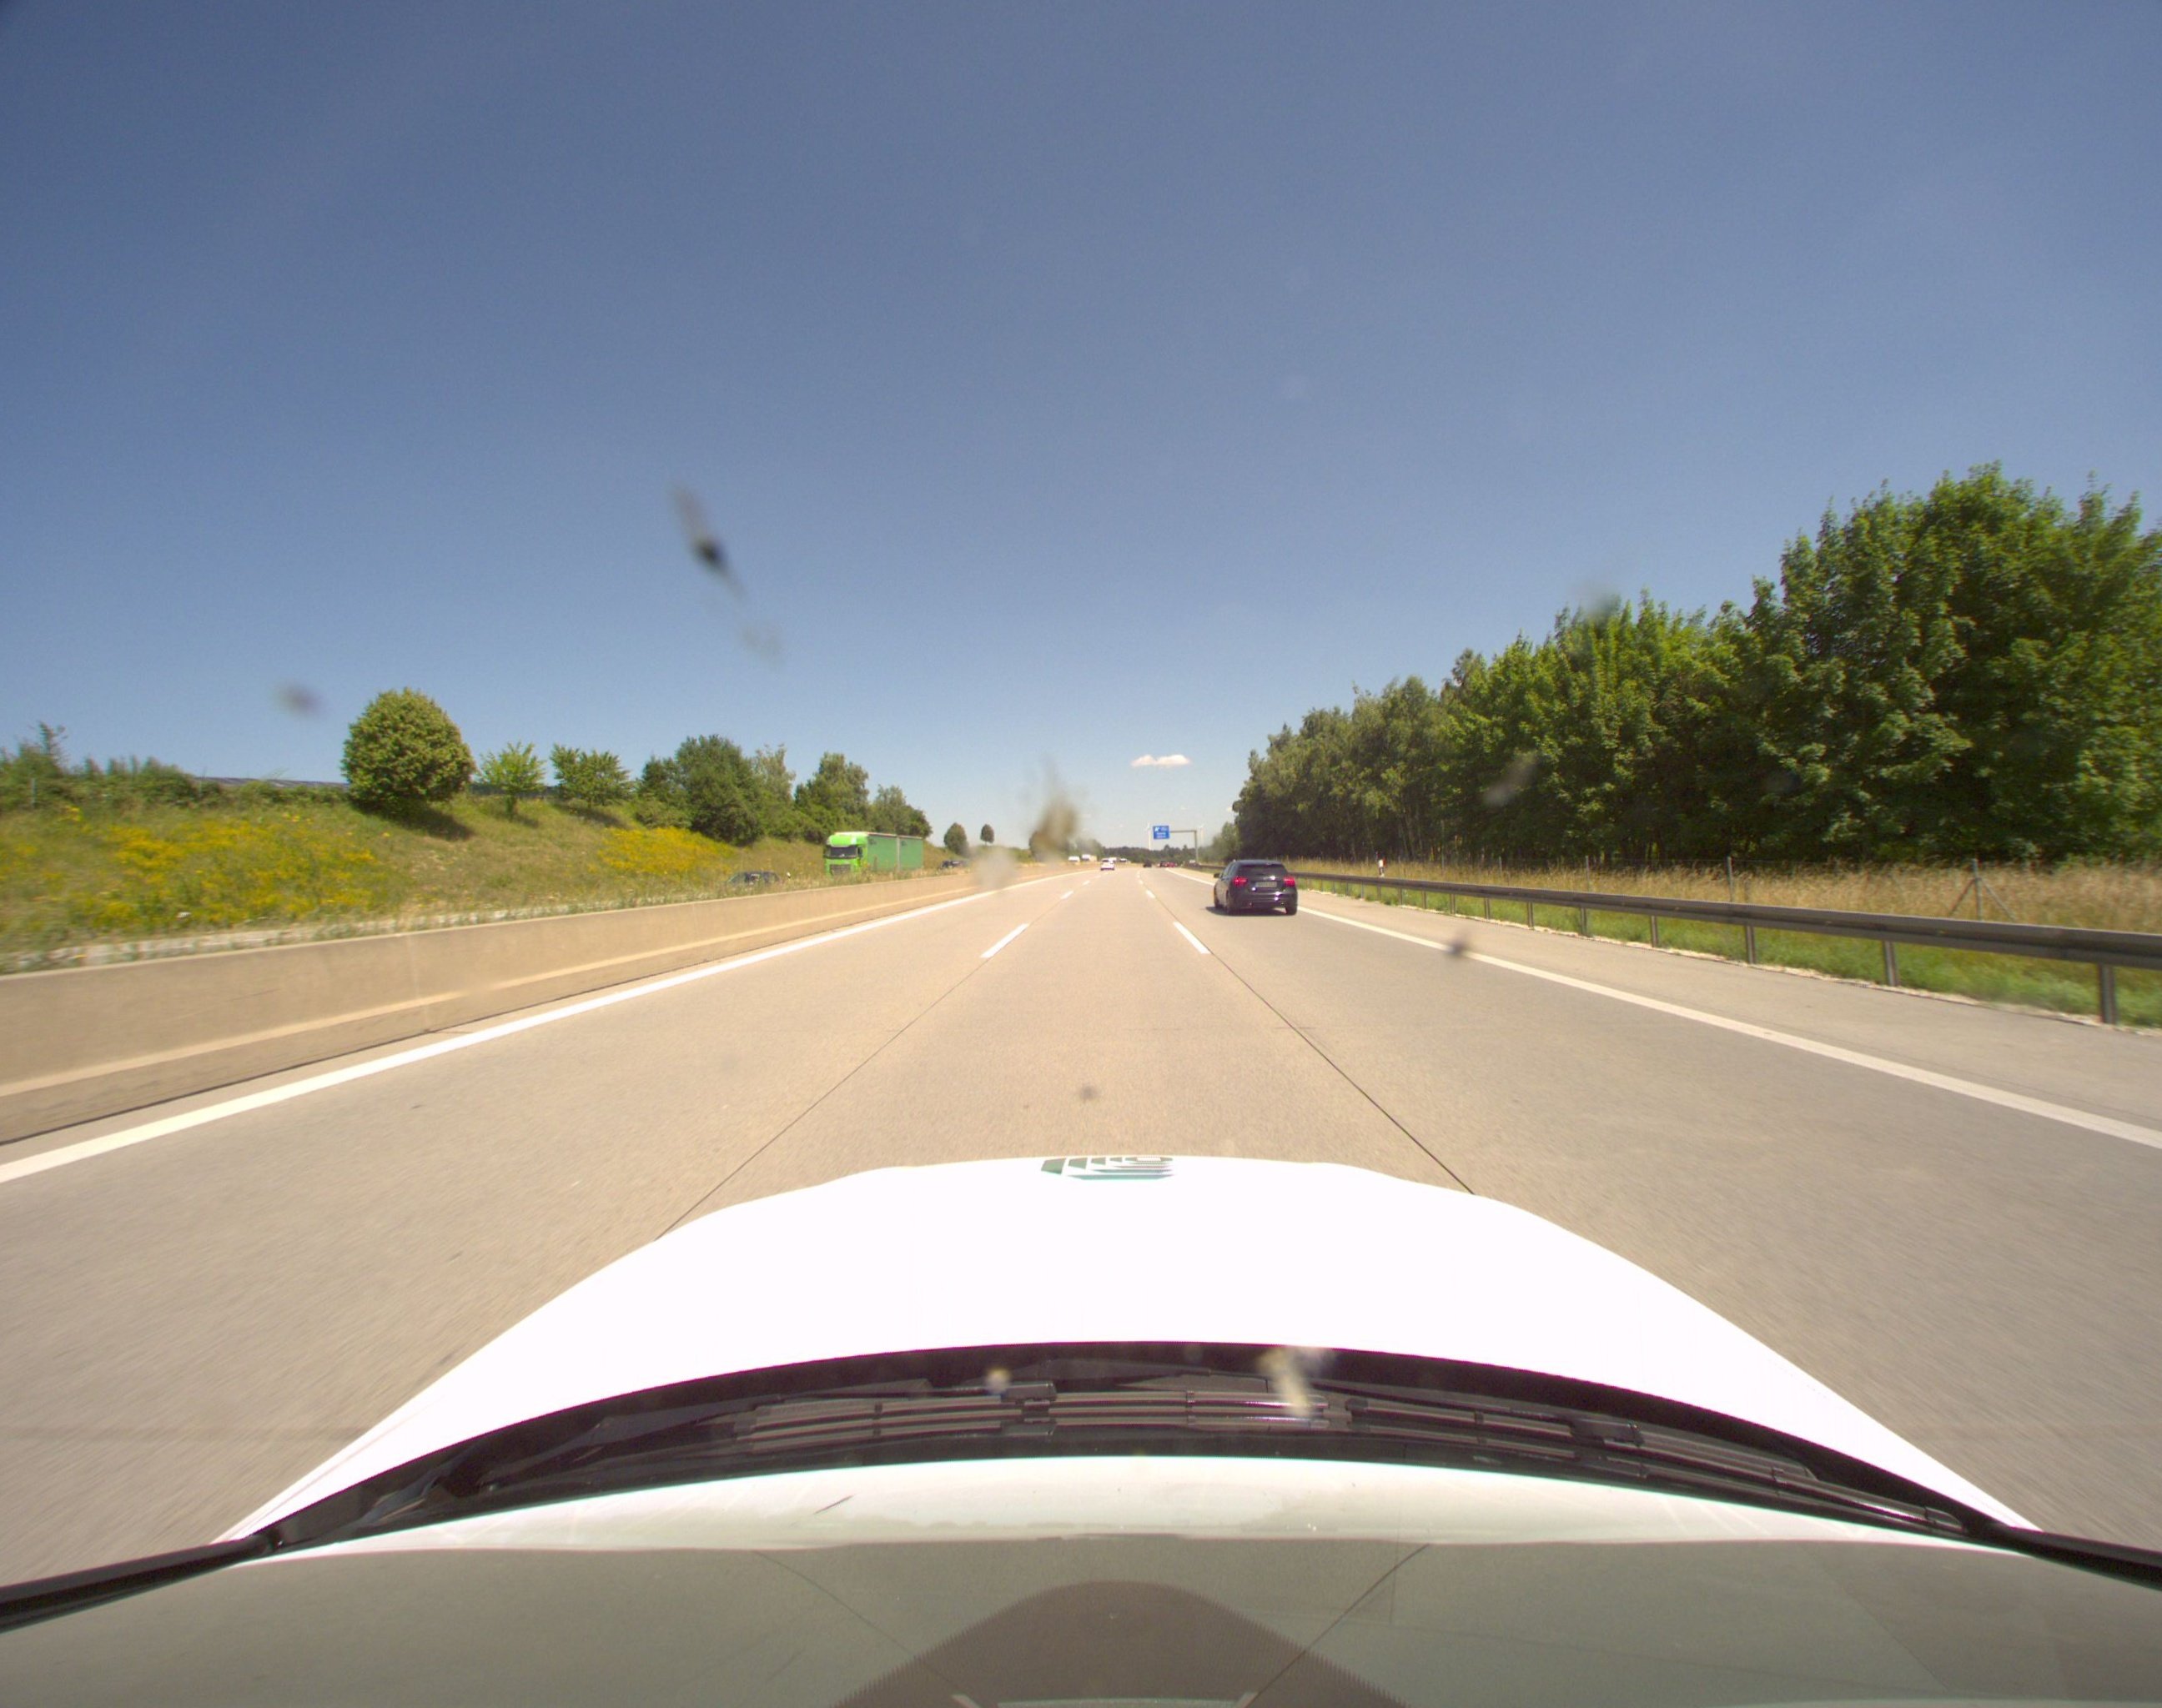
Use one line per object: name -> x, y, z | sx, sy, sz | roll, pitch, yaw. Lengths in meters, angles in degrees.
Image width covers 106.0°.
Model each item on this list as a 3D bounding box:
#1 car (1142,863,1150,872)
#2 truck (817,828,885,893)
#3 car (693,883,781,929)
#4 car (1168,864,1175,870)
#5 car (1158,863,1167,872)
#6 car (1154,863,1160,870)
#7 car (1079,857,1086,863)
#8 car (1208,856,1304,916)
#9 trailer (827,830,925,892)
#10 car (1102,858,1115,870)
car -> 15.739, 3.244, 197.292 | 1.819, 1.937, 3.813 | -1, 0, 4
truck -> -17.482, 0.504, 62.383 | 3.077, 4.662, 6.270 | -1, -1, 3
car -> -15.013, 2.211, 35.782 | 1.986, 1.772, 4.002 | -1, -1, 2
car -> 27.566, 3.941, 247.733 | 1.782, 1.810, 3.746 | -1, 0, 1
car -> 18.494, 3.112, 184.848 | 1.820, 1.907, 4.002 | -1, 0, 2
car -> 24.156, 3.903, 258.516 | 1.737, 1.990, 4.002 | -1, 0, 2
car -> 0.502, 1.856, 244.474 | 1.855, 1.816, 4.003 | -1, 0, 3
car -> 4.709, 0.817, 22.448 | 1.903, 1.492, 4.194 | 0, 0, 2
trailer -> -17.072, 0.533, 69.689 | 3.143, 4.607, 16.452 | -1, 0, 3
car -> 3.915, 1.417, 116.421 | 1.838, 1.708, 6.039 | -1, -1, 2
